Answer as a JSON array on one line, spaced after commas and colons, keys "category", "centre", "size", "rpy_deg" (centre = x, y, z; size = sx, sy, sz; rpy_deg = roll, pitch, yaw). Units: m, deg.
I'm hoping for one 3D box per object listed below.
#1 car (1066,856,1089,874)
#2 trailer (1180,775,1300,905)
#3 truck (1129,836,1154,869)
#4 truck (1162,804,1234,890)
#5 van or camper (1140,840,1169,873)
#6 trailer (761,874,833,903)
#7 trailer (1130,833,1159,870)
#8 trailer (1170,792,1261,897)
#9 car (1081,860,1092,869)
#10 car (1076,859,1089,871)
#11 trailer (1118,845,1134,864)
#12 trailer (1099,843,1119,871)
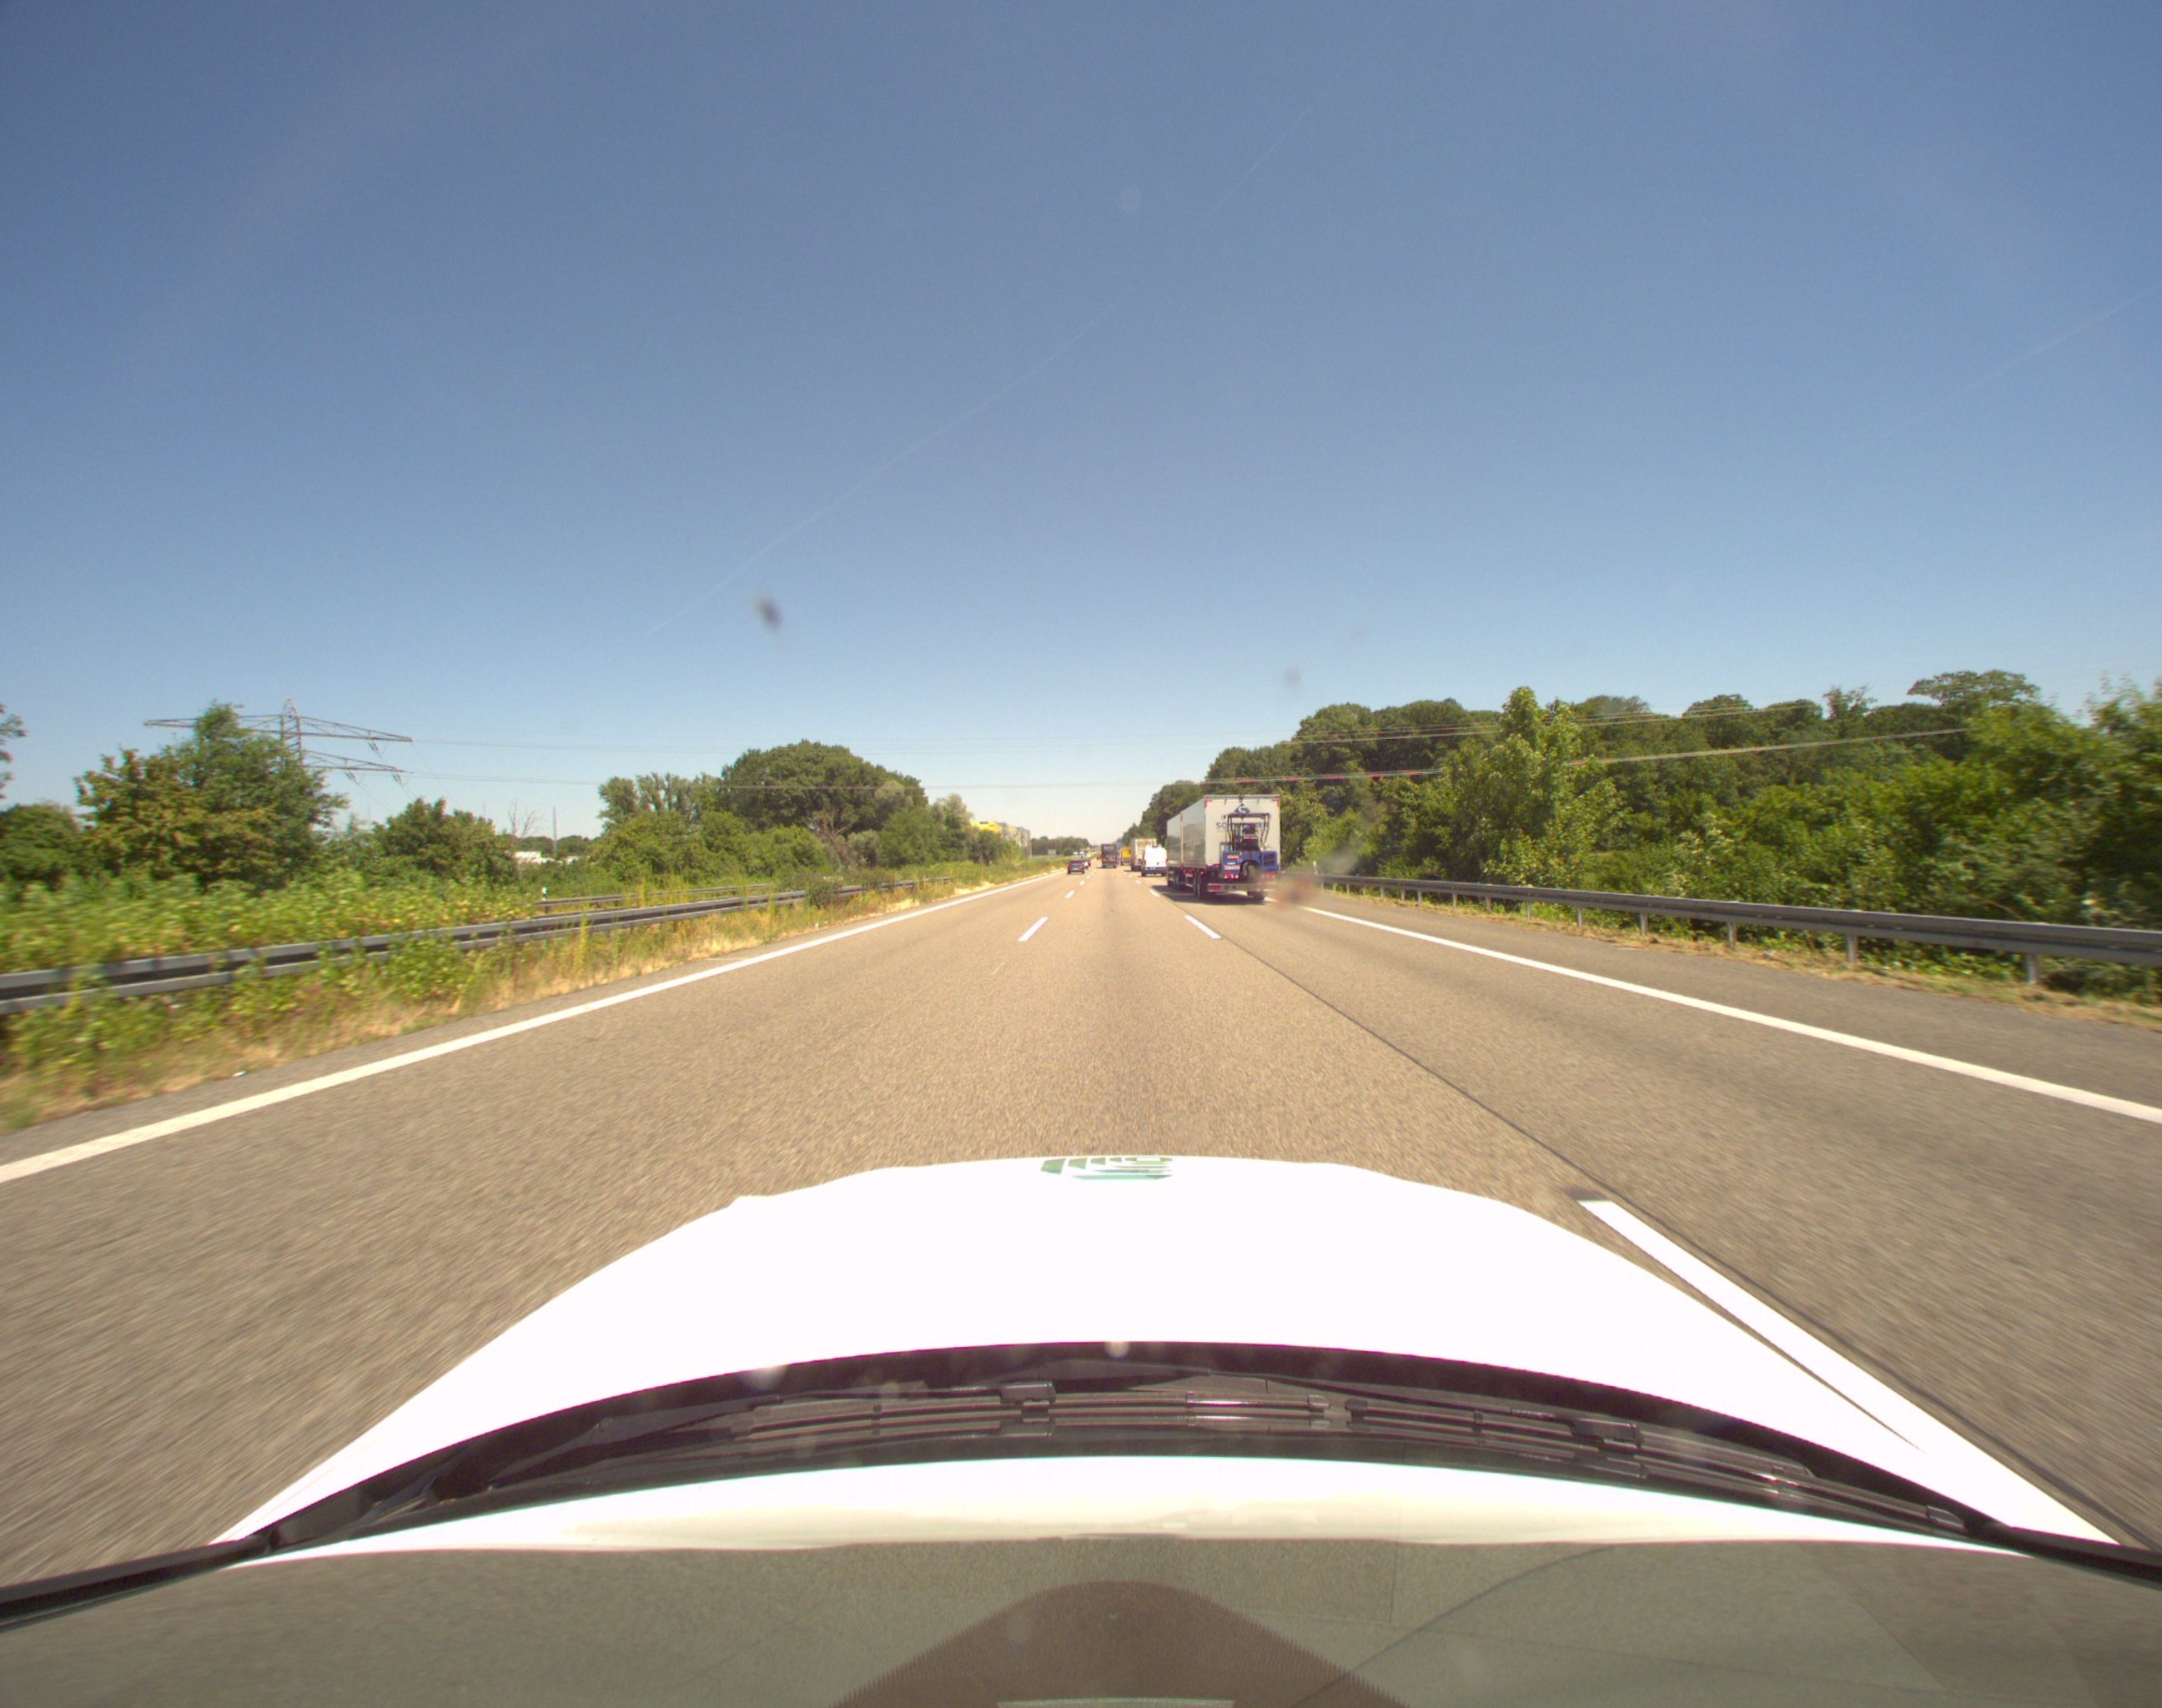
[{"category": "car", "centre": [-0.373, 1.160, 87.849], "size": [2.208, 1.790, 5.395], "rpy_deg": [-2, 0, 2]}, {"category": "trailer", "centre": [5.482, -0.412, 29.597], "size": [2.934, 4.063, 8.130], "rpy_deg": [-1, -1, 2]}, {"category": "truck", "centre": [7.963, -0.179, 108.020], "size": [2.991, 4.125, 5.254], "rpy_deg": [-1, -1, 2]}, {"category": "truck", "centre": [5.847, -0.304, 41.740], "size": [2.878, 4.030, 6.873], "rpy_deg": [-1, -1, 2]}, {"category": "van or camper", "centre": [6.256, 0.219, 70.117], "size": [2.015, 2.637, 6.489], "rpy_deg": [-1, 0, 1]}, {"category": "trailer", "centre": [-19.611, 2.325, 56.653], "size": [2.479, 1.684, 6.492], "rpy_deg": [-2, 0, 2]}, {"category": "trailer", "centre": [7.743, -0.232, 101.049], "size": [2.982, 4.289, 13.423], "rpy_deg": [-1, 0, 2]}, {"category": "trailer", "centre": [5.655, -0.347, 35.441], "size": [2.909, 4.041, 7.319], "rpy_deg": [-1, -1, 2]}, {"category": "car", "centre": [1.057, 2.025, 158.892], "size": [1.934, 1.706, 4.001], "rpy_deg": [-2, 0, 1]}, {"category": "car", "centre": [0.248, 1.572, 122.993], "size": [1.986, 1.728, 4.131], "rpy_deg": [-1, 0, 1]}, {"category": "trailer", "centre": [9.462, 0.055, 172.549], "size": [2.824, 3.953, 11.687], "rpy_deg": [-1, 0, 2]}, {"category": "trailer", "centre": [4.663, 0.483, 138.091], "size": [3.095, 4.507, 14.899], "rpy_deg": [-1, 0, 1]}]
